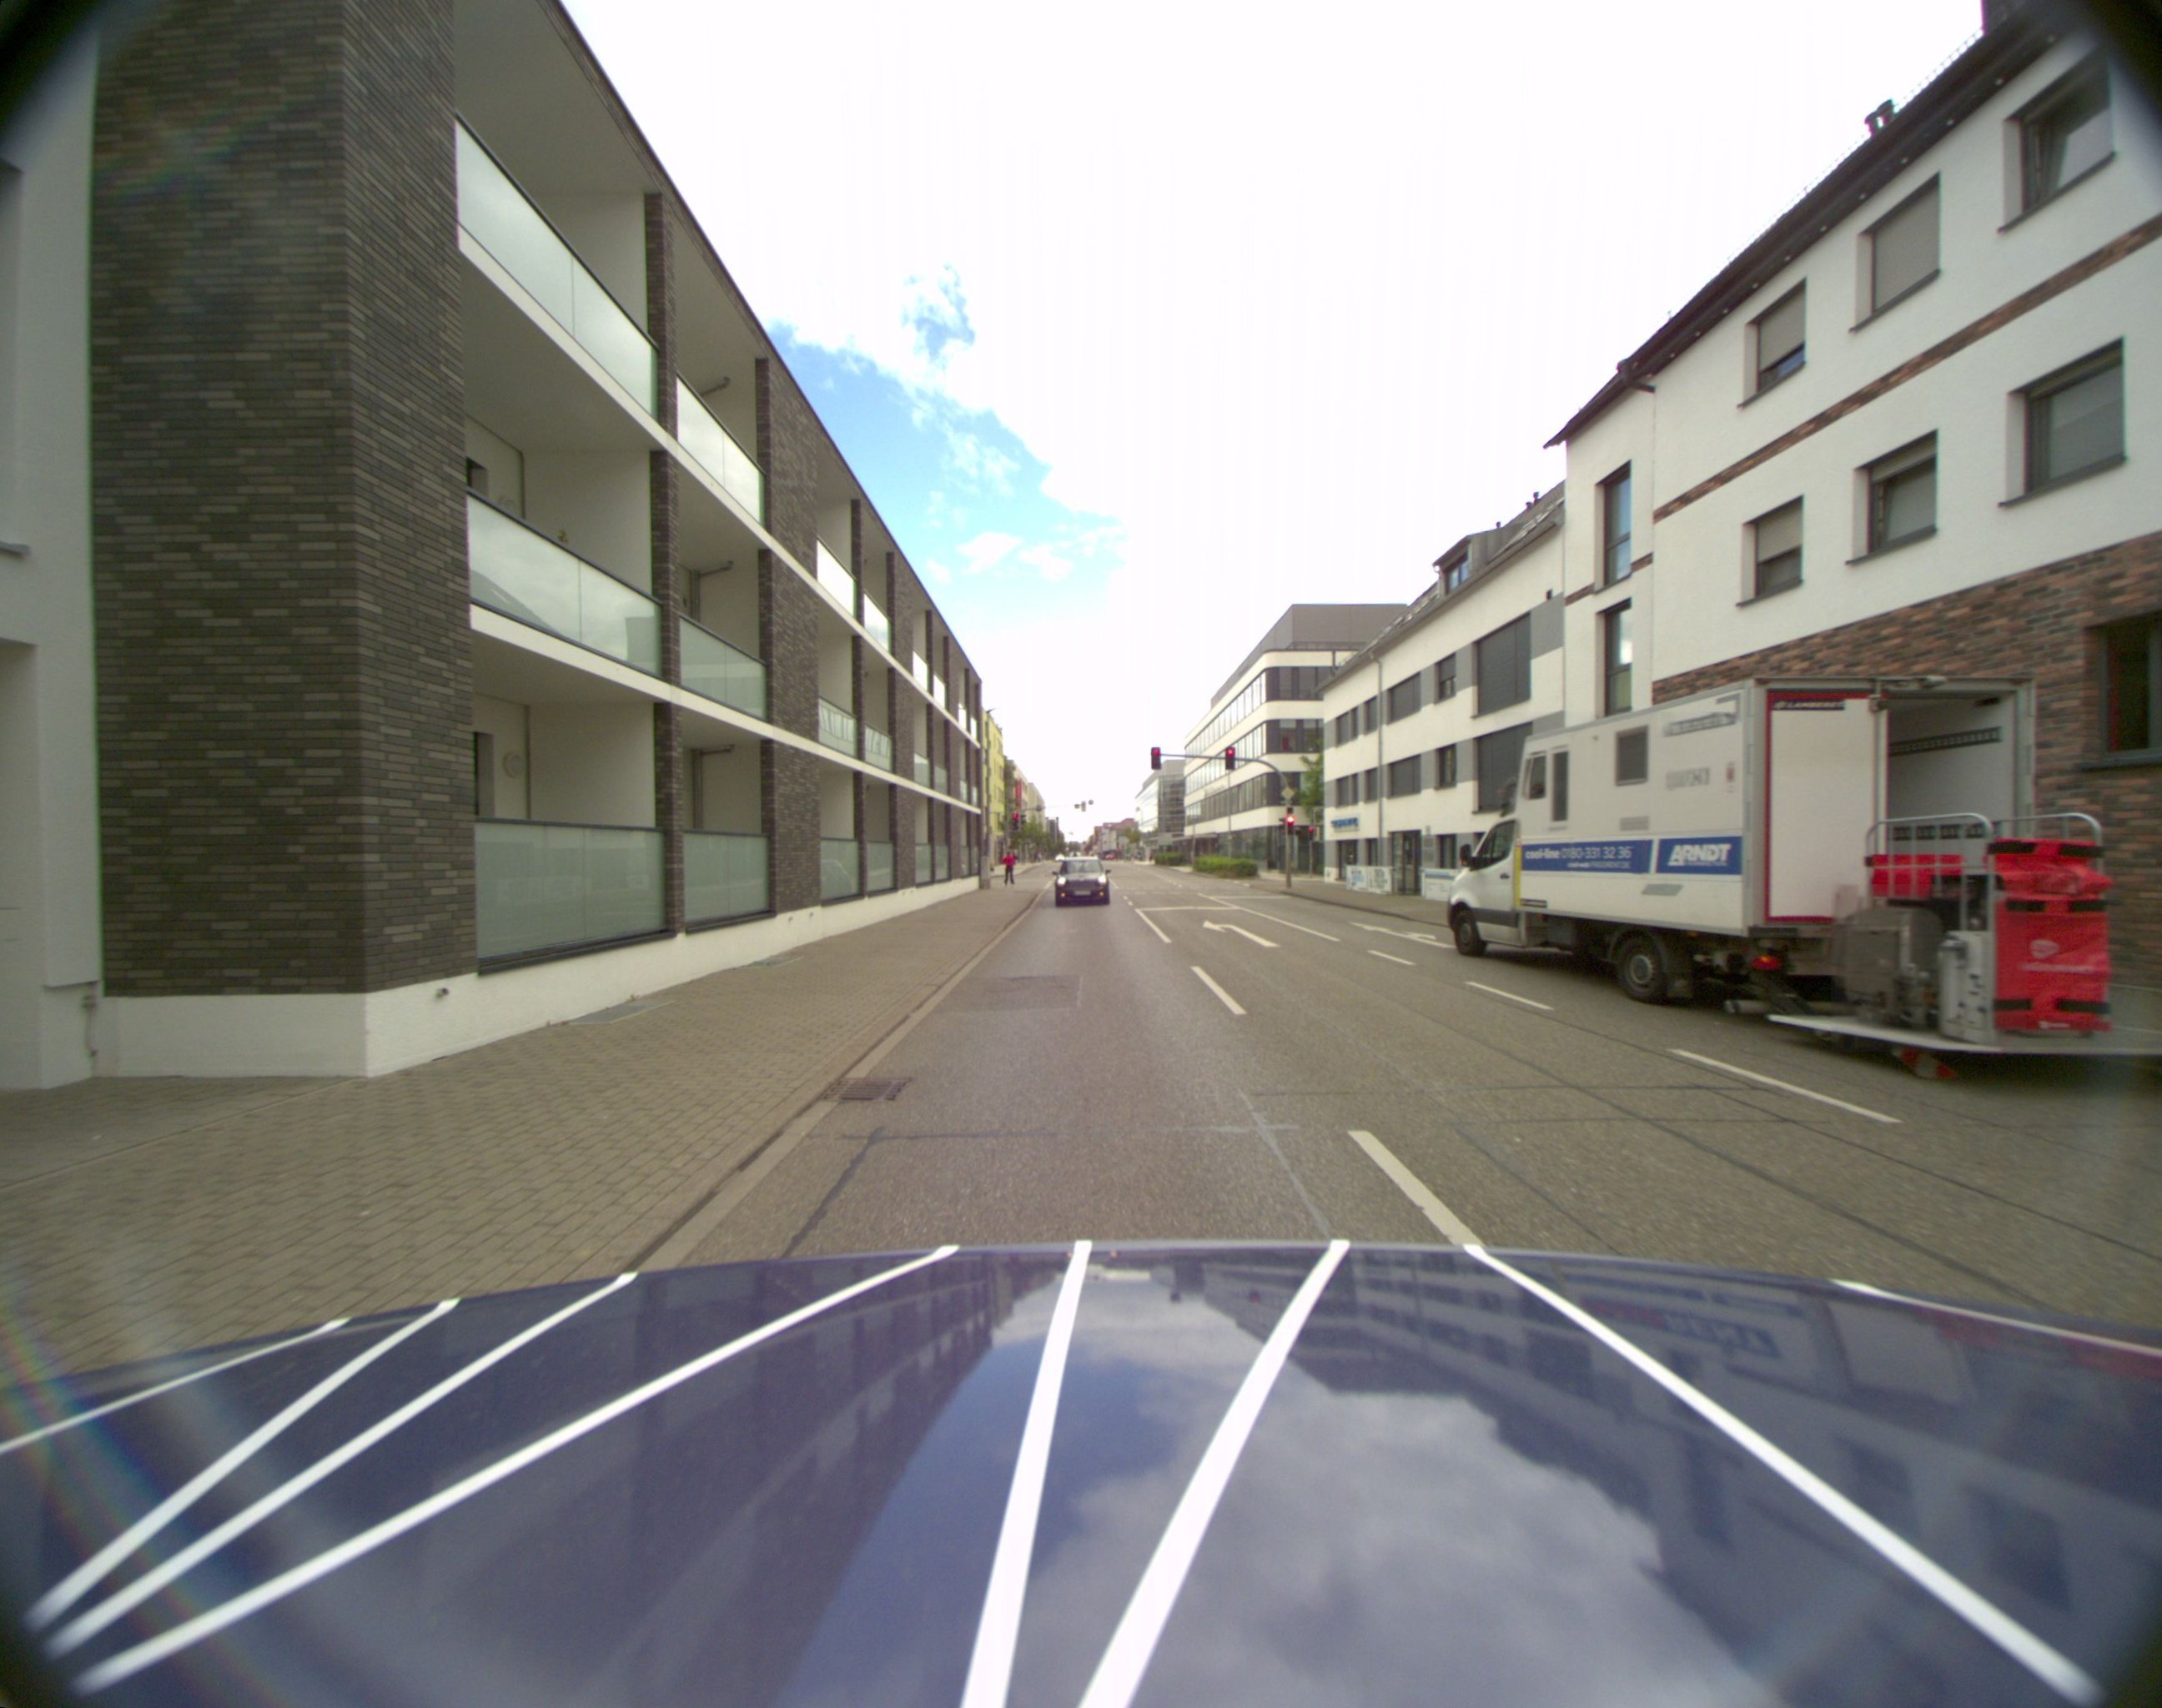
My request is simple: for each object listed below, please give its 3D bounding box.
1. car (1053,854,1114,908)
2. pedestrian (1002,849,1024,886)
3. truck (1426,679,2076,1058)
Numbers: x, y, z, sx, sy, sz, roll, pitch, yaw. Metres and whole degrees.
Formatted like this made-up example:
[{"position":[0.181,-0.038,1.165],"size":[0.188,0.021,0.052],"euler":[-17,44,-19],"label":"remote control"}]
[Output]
[{"position":[0.099,0.854,26.103],"size":[1.847,1.571,4.429],"euler":[-3,0,0],"label":"car"},{"position":[-3.206,0.620,35.724],"size":[0.938,1.732,0.901],"euler":[-1,1,0],"label":"pedestrian"},{"position":[6.700,0.108,9.036],"size":[2.468,2.954,5.964],"euler":[-2,0,1],"label":"truck"}]
